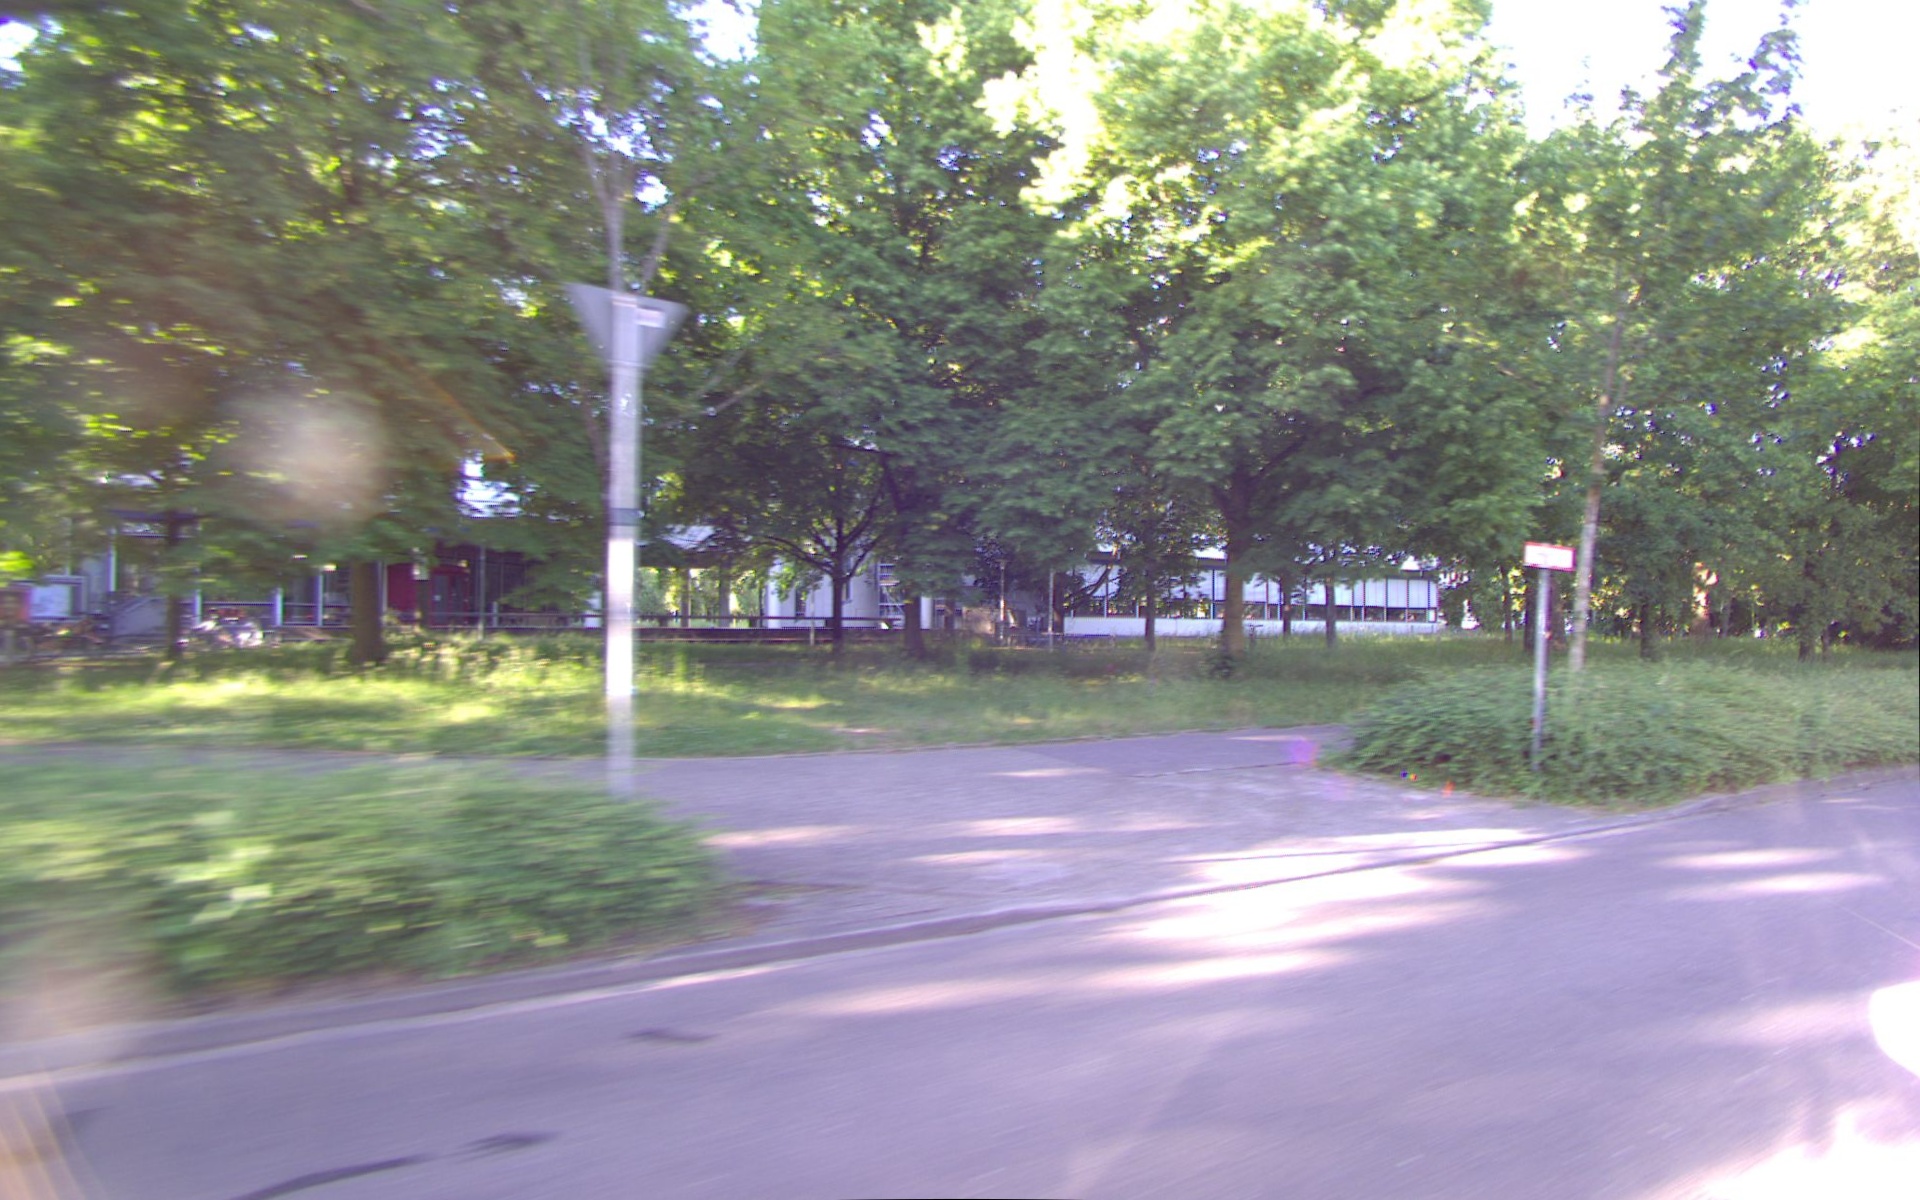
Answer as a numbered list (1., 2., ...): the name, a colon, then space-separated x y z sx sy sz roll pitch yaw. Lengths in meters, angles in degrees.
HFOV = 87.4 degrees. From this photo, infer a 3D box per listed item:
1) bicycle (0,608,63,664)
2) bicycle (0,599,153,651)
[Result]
1. bicycle: -19.898 0.733 20.806 2.380 1.086 0.537 1 2 8
2. bicycle: -19.475 0.554 22.171 2.589 1.086 0.535 1 3 -13
